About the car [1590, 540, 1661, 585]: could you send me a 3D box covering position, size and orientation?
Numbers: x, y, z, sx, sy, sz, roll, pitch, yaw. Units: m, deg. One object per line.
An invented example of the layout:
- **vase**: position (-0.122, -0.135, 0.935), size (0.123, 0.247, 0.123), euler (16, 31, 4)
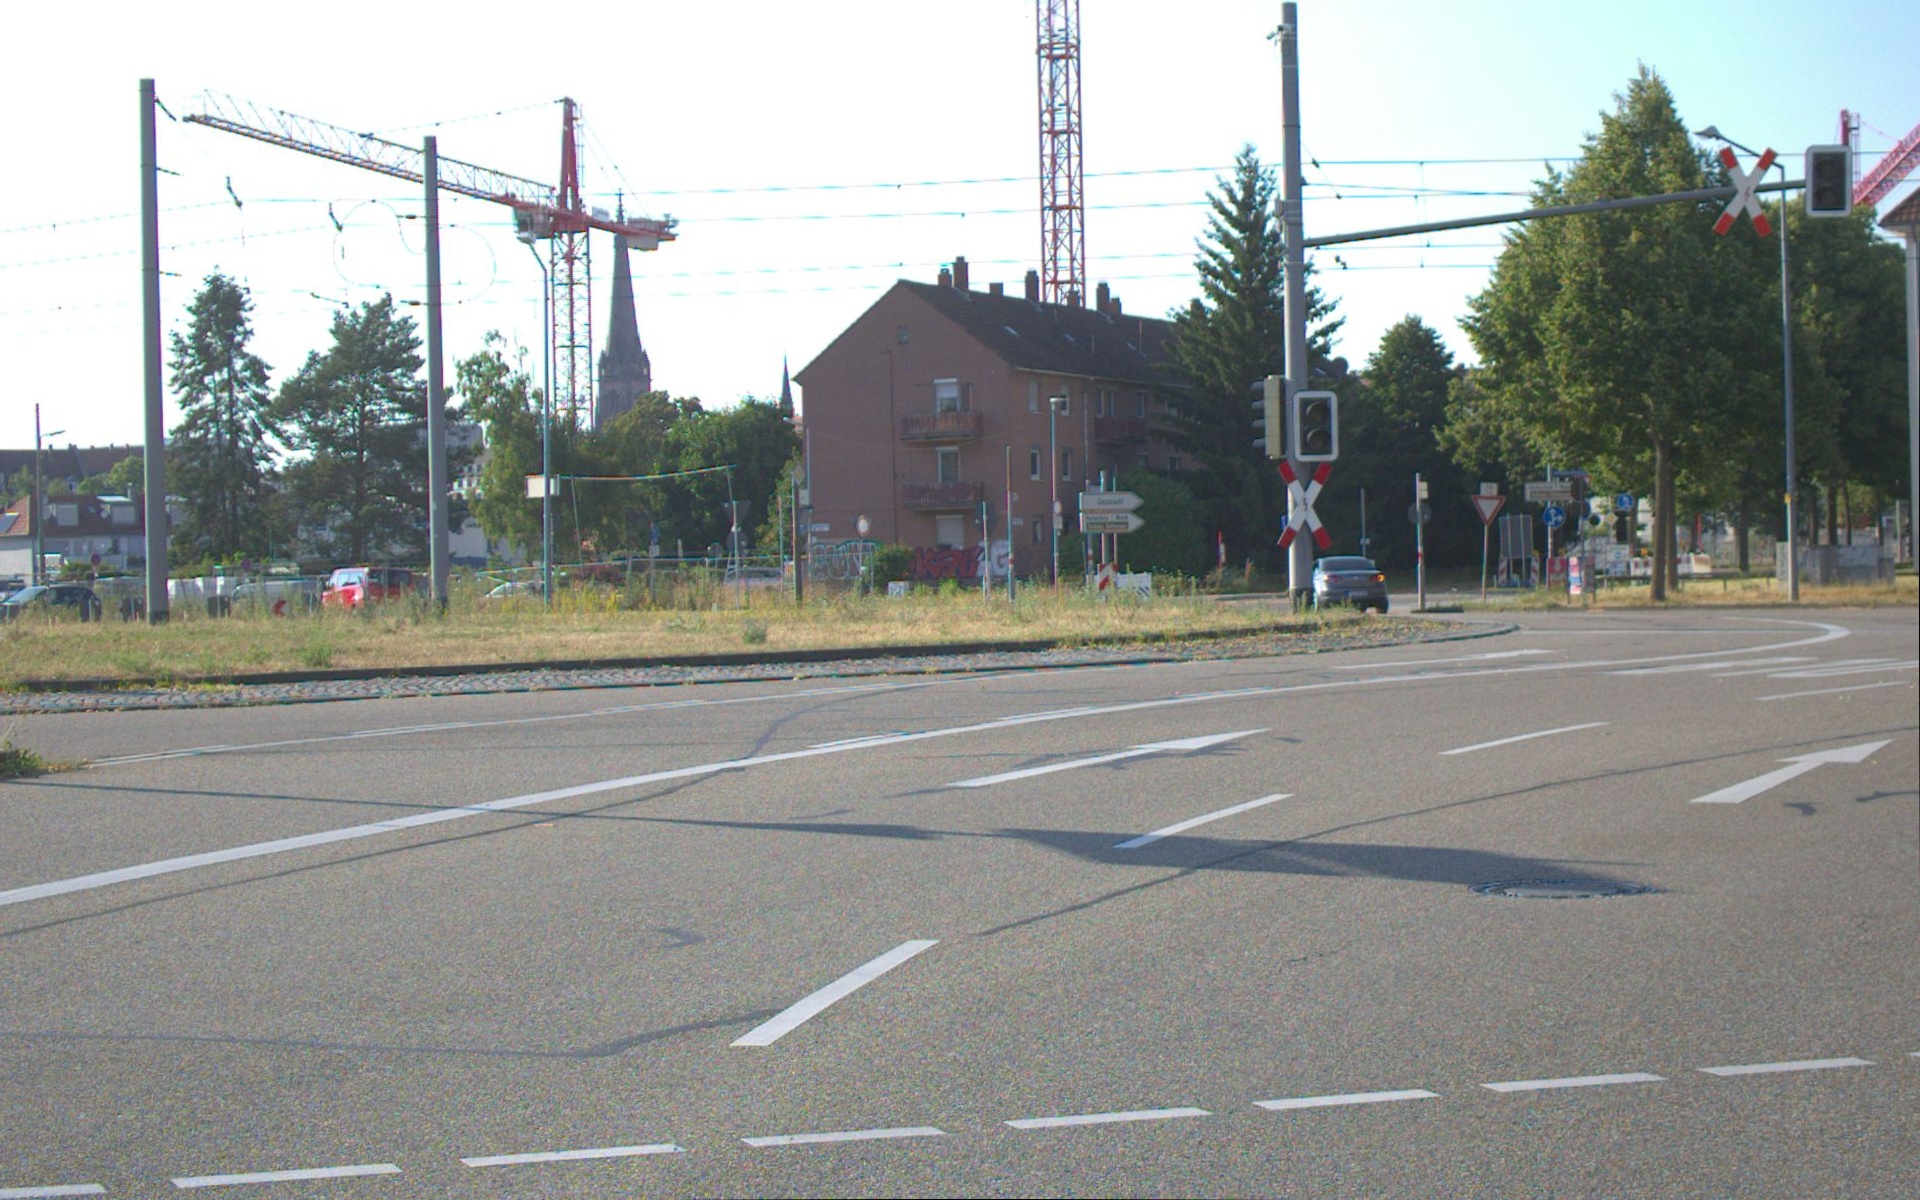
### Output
- **car**: position (27.586, -1.574, 142.450), size (1.996, 1.774, 3.995), euler (-1, 1, 24)

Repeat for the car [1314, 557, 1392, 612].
- **car**: position (9.717, -0.396, 85.135), size (1.455, 1.295, 3.549), euler (-1, 1, -1)

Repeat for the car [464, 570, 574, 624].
- **car**: position (-16.984, -0.128, 132.417), size (3.812, 2.007, 1.670), euler (-1, 0, 19)

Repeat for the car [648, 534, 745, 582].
- **car**: position (-11.468, -1.831, 149.725), size (3.812, 2.007, 1.670), euler (-1, 0, 19)

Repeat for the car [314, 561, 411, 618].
- **car**: position (-20.203, -0.361, 116.110), size (1.919, 1.847, 4.000), euler (-2, 1, -30)
